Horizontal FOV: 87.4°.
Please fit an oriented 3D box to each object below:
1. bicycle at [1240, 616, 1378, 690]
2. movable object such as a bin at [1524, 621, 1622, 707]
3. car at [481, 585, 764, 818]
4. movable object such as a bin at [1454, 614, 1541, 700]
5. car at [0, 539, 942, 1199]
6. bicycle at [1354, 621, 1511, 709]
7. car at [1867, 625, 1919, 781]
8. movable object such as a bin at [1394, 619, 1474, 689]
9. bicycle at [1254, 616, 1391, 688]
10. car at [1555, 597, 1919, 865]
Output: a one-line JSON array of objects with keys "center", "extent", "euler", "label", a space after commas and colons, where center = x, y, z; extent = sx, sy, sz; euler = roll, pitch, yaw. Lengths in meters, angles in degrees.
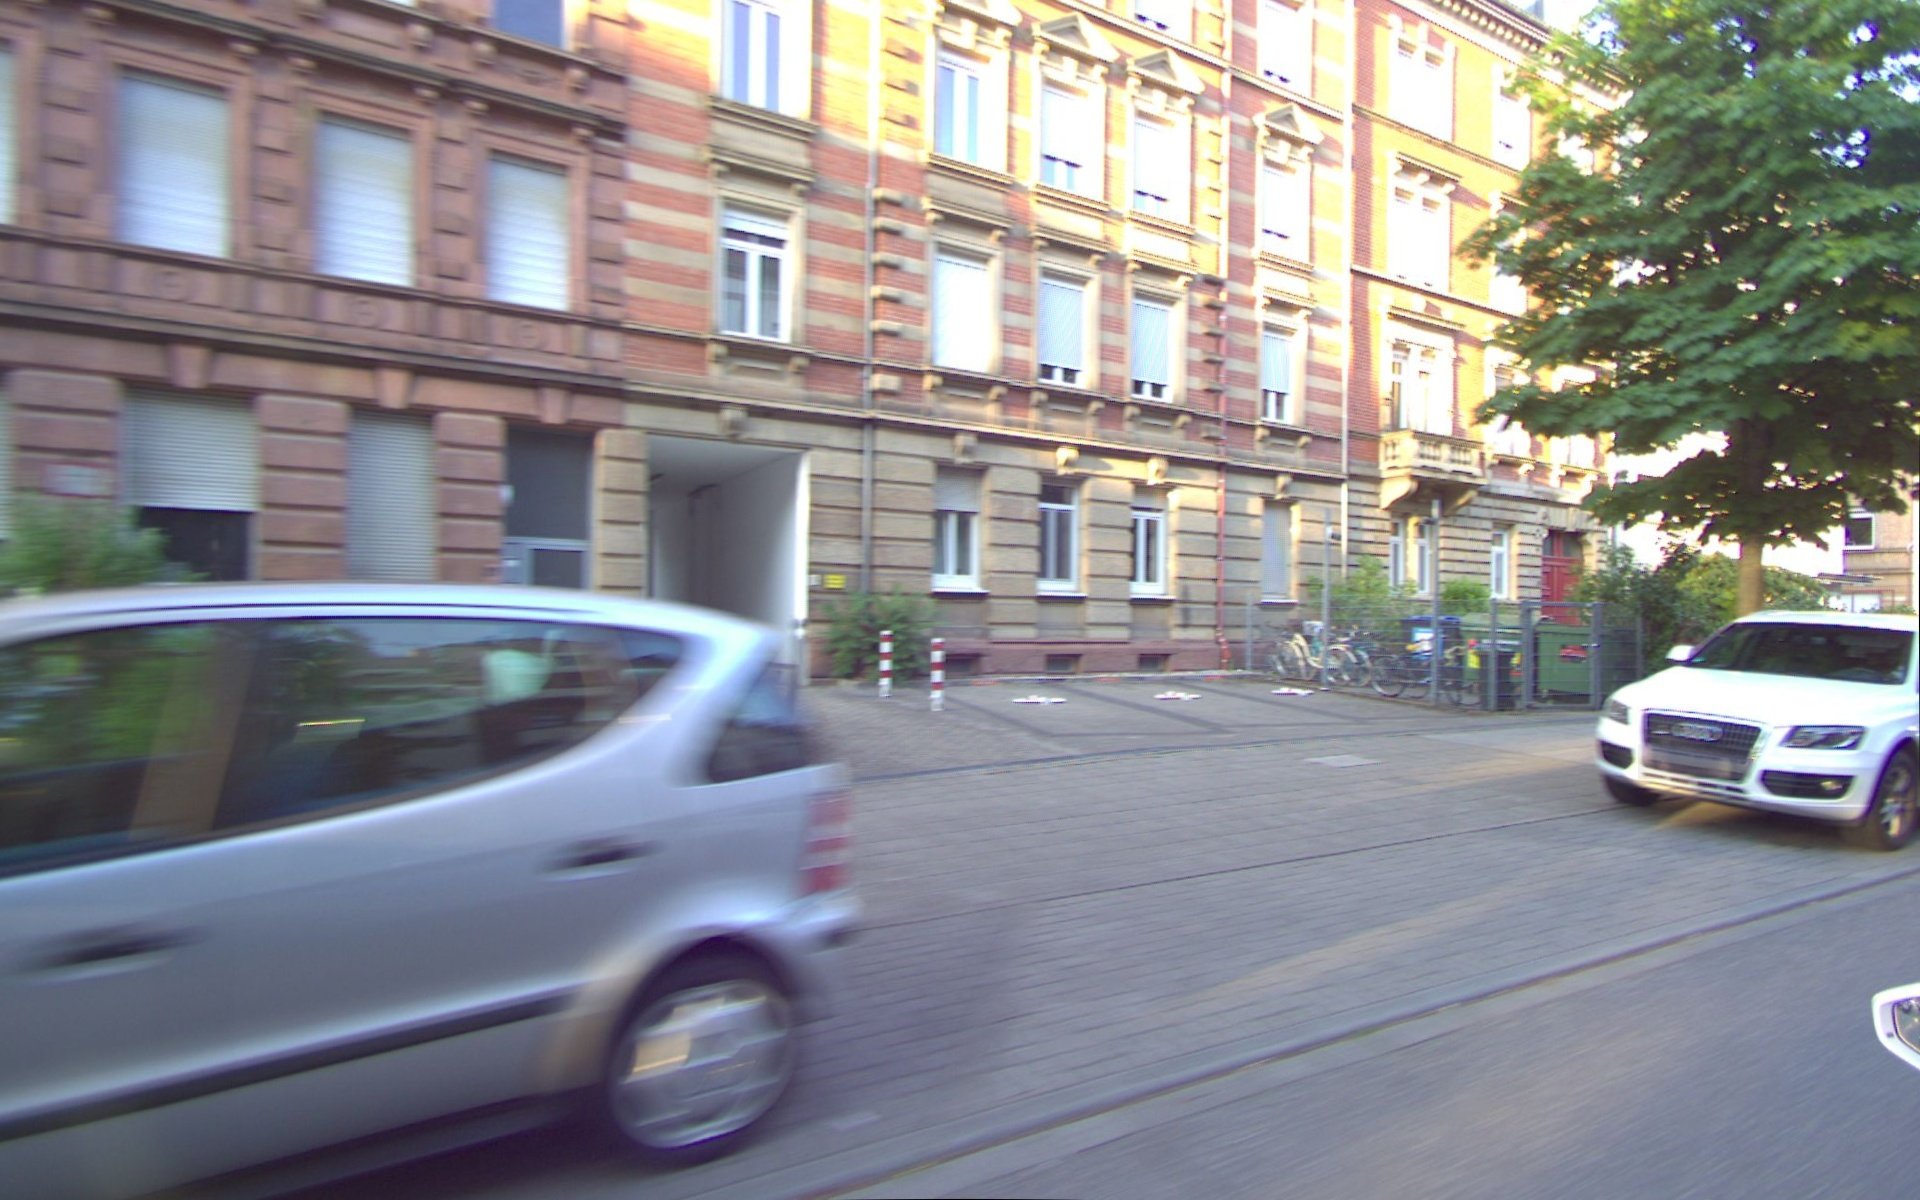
[{"center": [6.631, 0.970, 19.251], "extent": [0.638, 1.208, 2.507], "euler": [0, 2, -40], "label": "bicycle"}, {"center": [10.326, 1.052, 16.937], "extent": [0.991, 1.339, 1.009], "euler": [0, 2, -25], "label": "movable object such as a bin"}, {"center": [-3.347, 0.724, 9.391], "extent": [1.689, 1.548, 4.071], "euler": [1, 2, -30], "label": "car"}, {"center": [9.587, 0.989, 17.929], "extent": [0.998, 1.433, 1.086], "euler": [0, 2, -44], "label": "movable object such as a bin"}, {"center": [-2.031, 0.704, 2.756], "extent": [3.705, 1.624, 1.586], "euler": [1, -1, -34], "label": "car"}, {"center": [7.738, 1.027, 16.617], "extent": [0.634, 1.208, 2.522], "euler": [1, 2, -23], "label": "bicycle"}, {"center": [11.655, 1.113, 10.861], "extent": [3.737, 1.587, 1.707], "euler": [2, -1, -30], "label": "car"}, {"center": [9.129, 1.016, 19.362], "extent": [0.998, 1.225, 1.086], "euler": [0, 2, -44], "label": "movable object such as a bin"}, {"center": [7.021, 0.971, 19.594], "extent": [0.638, 1.208, 2.507], "euler": [0, 2, -40], "label": "bicycle"}, {"center": [7.215, 0.891, 8.474], "extent": [4.376, 1.740, 1.912], "euler": [1, -1, -30], "label": "car"}]
